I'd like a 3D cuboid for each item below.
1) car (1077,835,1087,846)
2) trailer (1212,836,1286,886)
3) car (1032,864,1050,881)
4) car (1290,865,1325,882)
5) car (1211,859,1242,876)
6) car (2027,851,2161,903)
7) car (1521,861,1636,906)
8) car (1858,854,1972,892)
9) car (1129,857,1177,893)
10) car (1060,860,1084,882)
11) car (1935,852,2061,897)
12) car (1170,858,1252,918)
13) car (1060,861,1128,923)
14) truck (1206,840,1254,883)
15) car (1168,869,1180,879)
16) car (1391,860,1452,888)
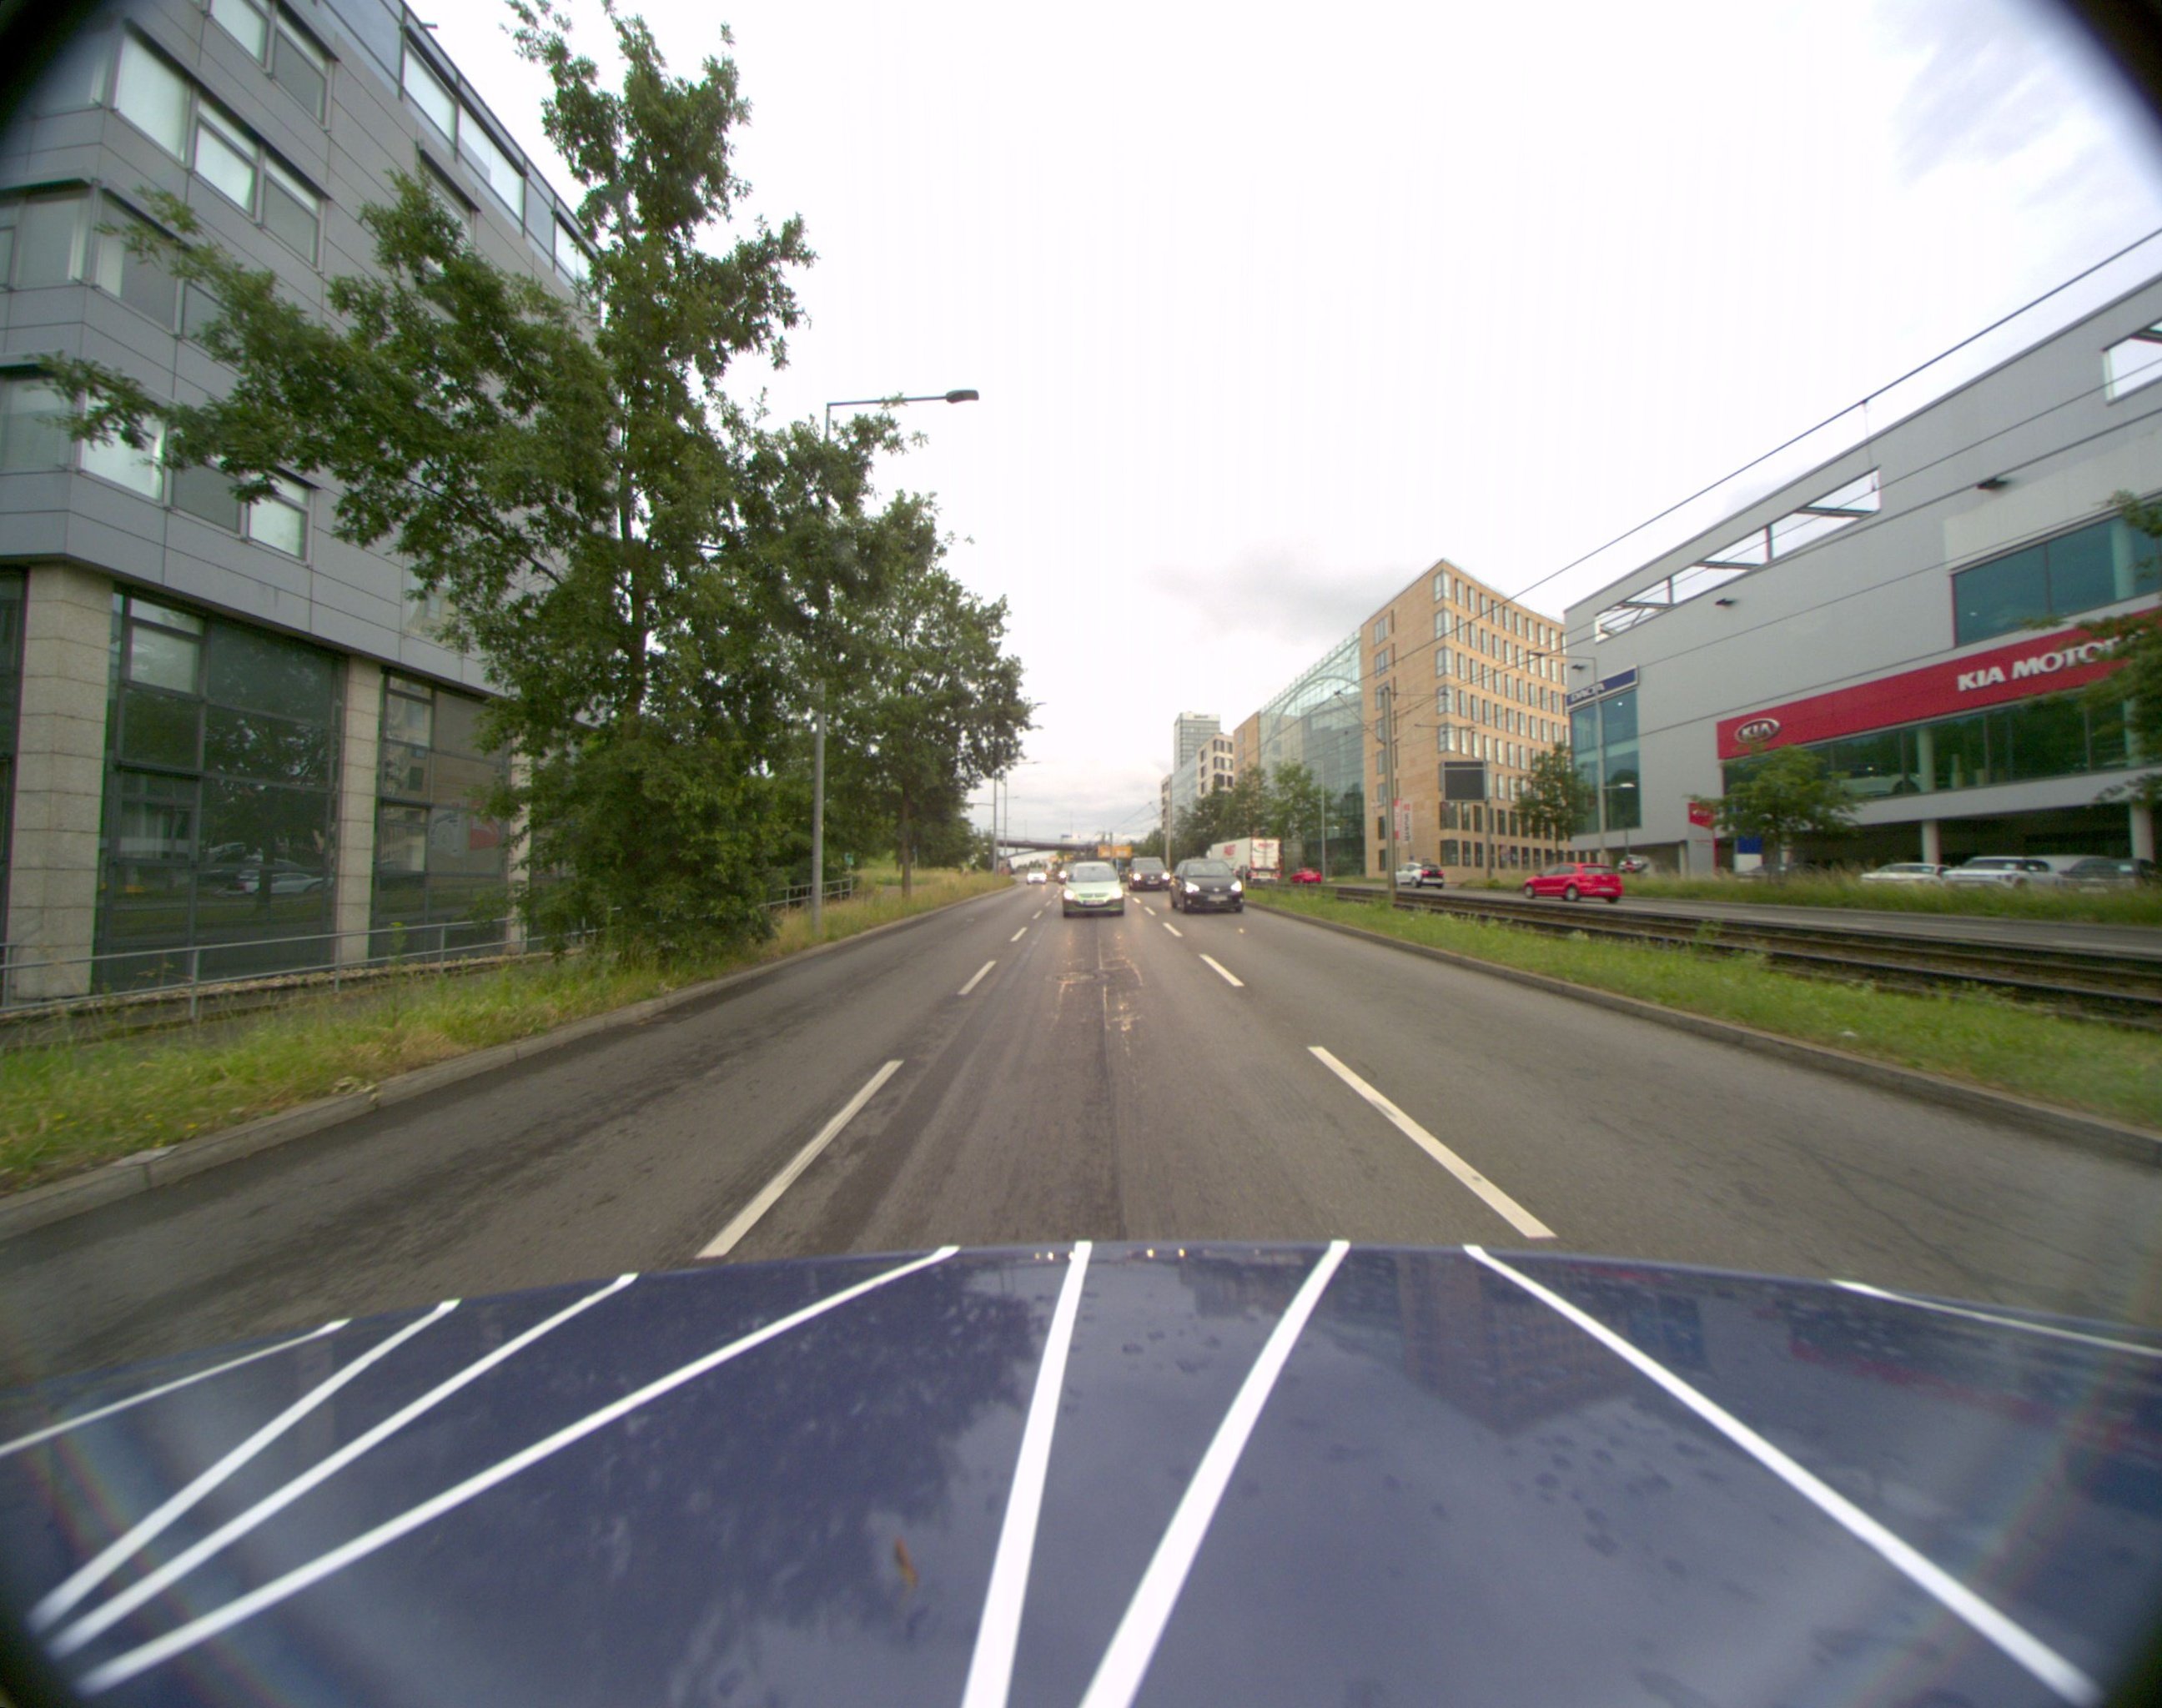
[{"bbox_3d":[0.212,-2.737,154.018,1.960,2.002,4.000,-1,0,1],"label":"car"},{"bbox_3d":[15.899,0.662,73.336,3.143,4.303,13.276,2,0,-5],"label":"trailer"},{"bbox_3d":[-3.797,1.749,71.172,1.518,1.495,3.167,-1,0,-5],"label":"car"},{"bbox_3d":[19.772,1.702,66.434,1.688,1.361,4.024,-1,0,-3],"label":"car"},{"bbox_3d":[13.127,1.182,68.826,1.689,1.428,4.097,1,0,-5],"label":"car"},{"bbox_3d":[31.580,0.682,23.517,3.528,1.344,1.697,-3,0,-17],"label":"car"},{"bbox_3d":[18.538,1.046,28.545,1.588,1.504,4.101,1,0,-1],"label":"car"},{"bbox_3d":[31.720,0.709,28.903,3.668,1.181,1.696,-3,0,-22],"label":"car"},{"bbox_3d":[3.472,0.975,37.390,1.786,1.597,4.316,-2,0,-2],"label":"car"},{"bbox_3d":[-0.735,1.341,60.859,1.759,1.649,4.337,-1,0,-3],"label":"car"},{"bbox_3d":[31.742,0.684,26.298,3.668,1.287,1.696,-4,0,-22],"label":"car"},{"bbox_3d":[3.634,0.892,21.852,1.704,1.523,3.827,-1,0,1],"label":"car"},{"bbox_3d":[0.357,1.001,21.665,1.704,1.523,4.371,-1,0,1],"label":"car"},{"bbox_3d":[15.457,0.809,79.422,3.144,4.219,7.025,2,0,-4],"label":"truck"},{"bbox_3d":[16.109,3.417,131.808,1.630,1.608,4.000,-1,0,-1],"label":"car"},{"bbox_3d":[20.910,1.199,46.849,1.688,1.571,4.098,-1,0,-3],"label":"car"}]
